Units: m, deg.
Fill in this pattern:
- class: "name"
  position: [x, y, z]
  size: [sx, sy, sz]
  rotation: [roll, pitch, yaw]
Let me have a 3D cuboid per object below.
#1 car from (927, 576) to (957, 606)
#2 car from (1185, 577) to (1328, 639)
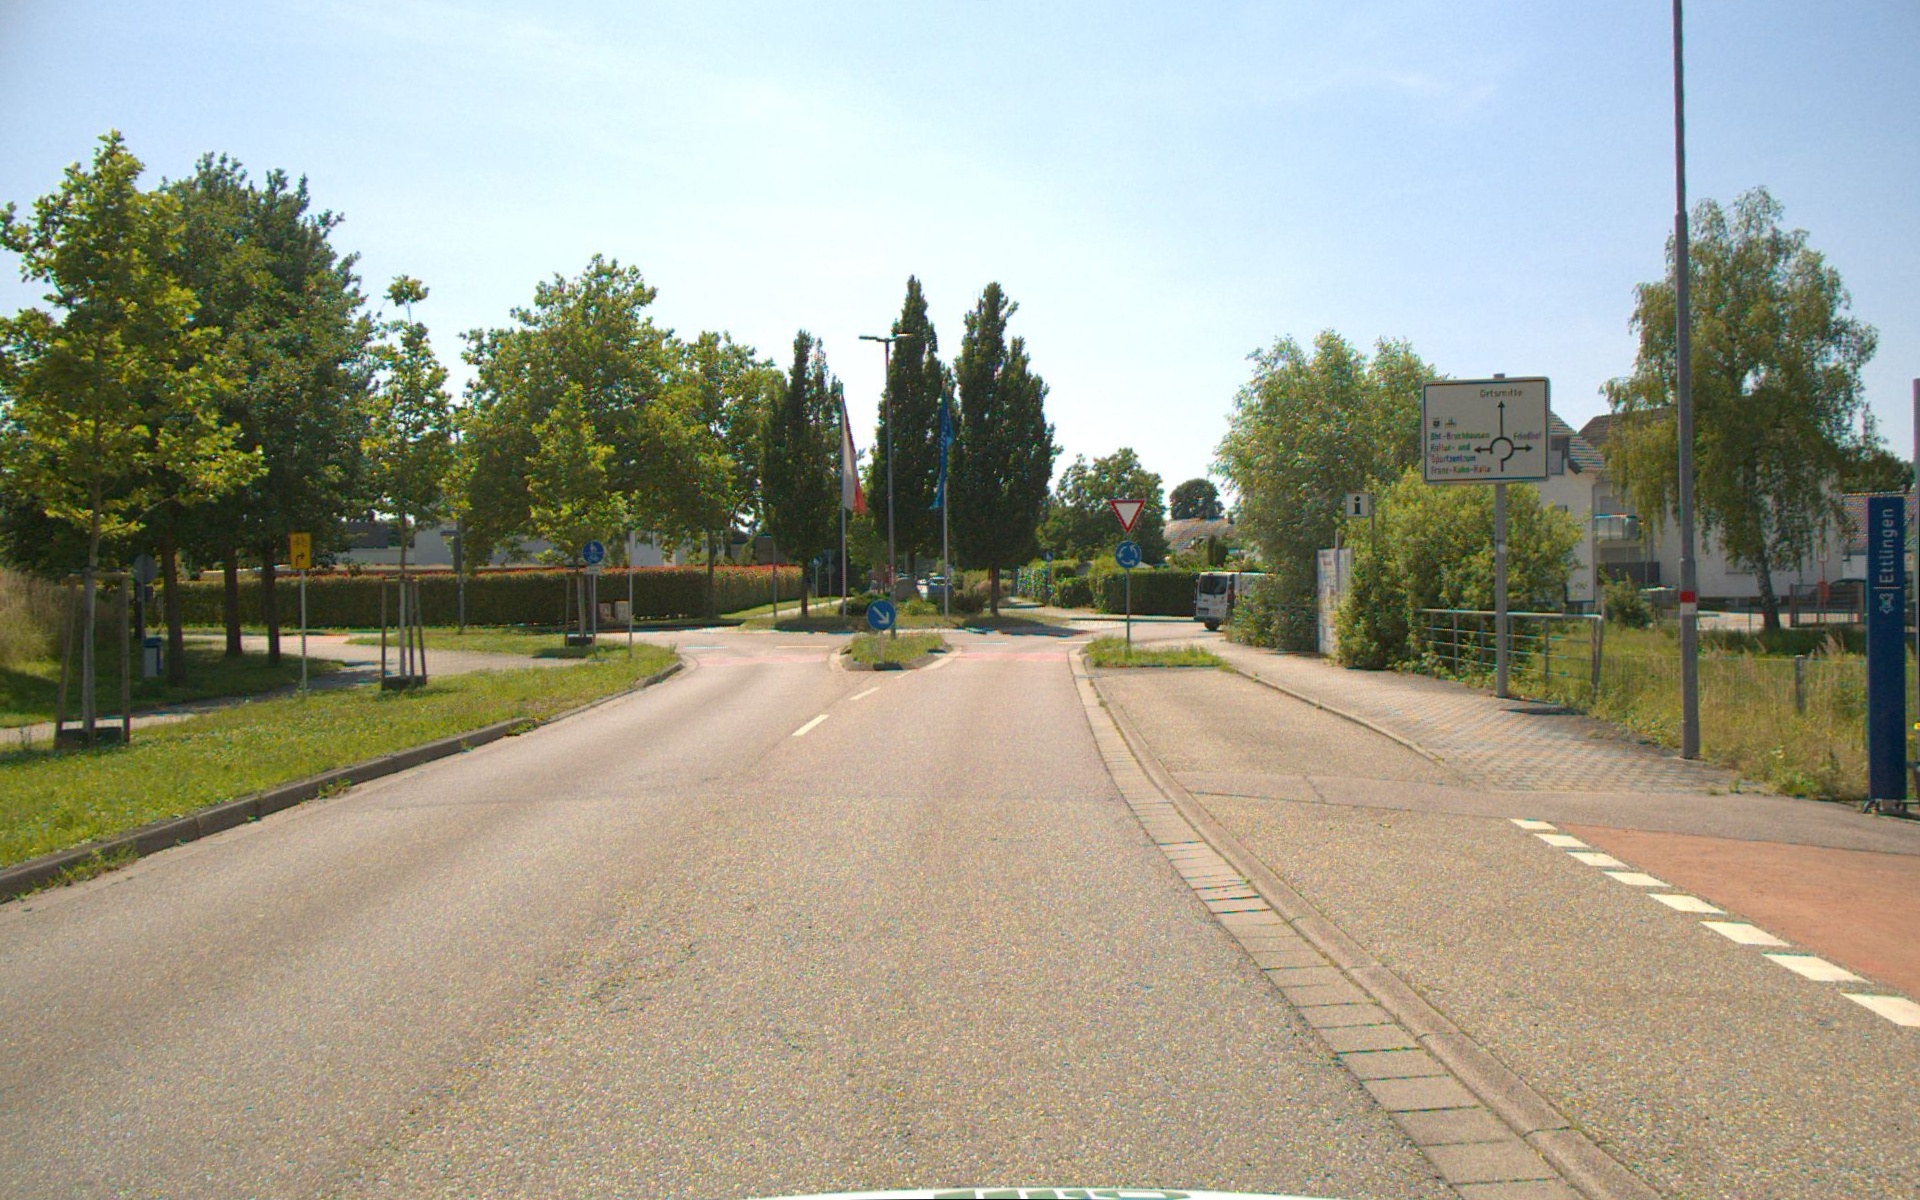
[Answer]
- class: "car"
  position: [-1.218, -0.579, 109.559]
  size: [1.884, 1.919, 3.999]
  rotation: [1, 0, -1]
- class: "car"
  position: [10.296, 0.282, 57.235]
  size: [5.098, 2.049, 2.105]
  rotation: [0, 0, -39]
